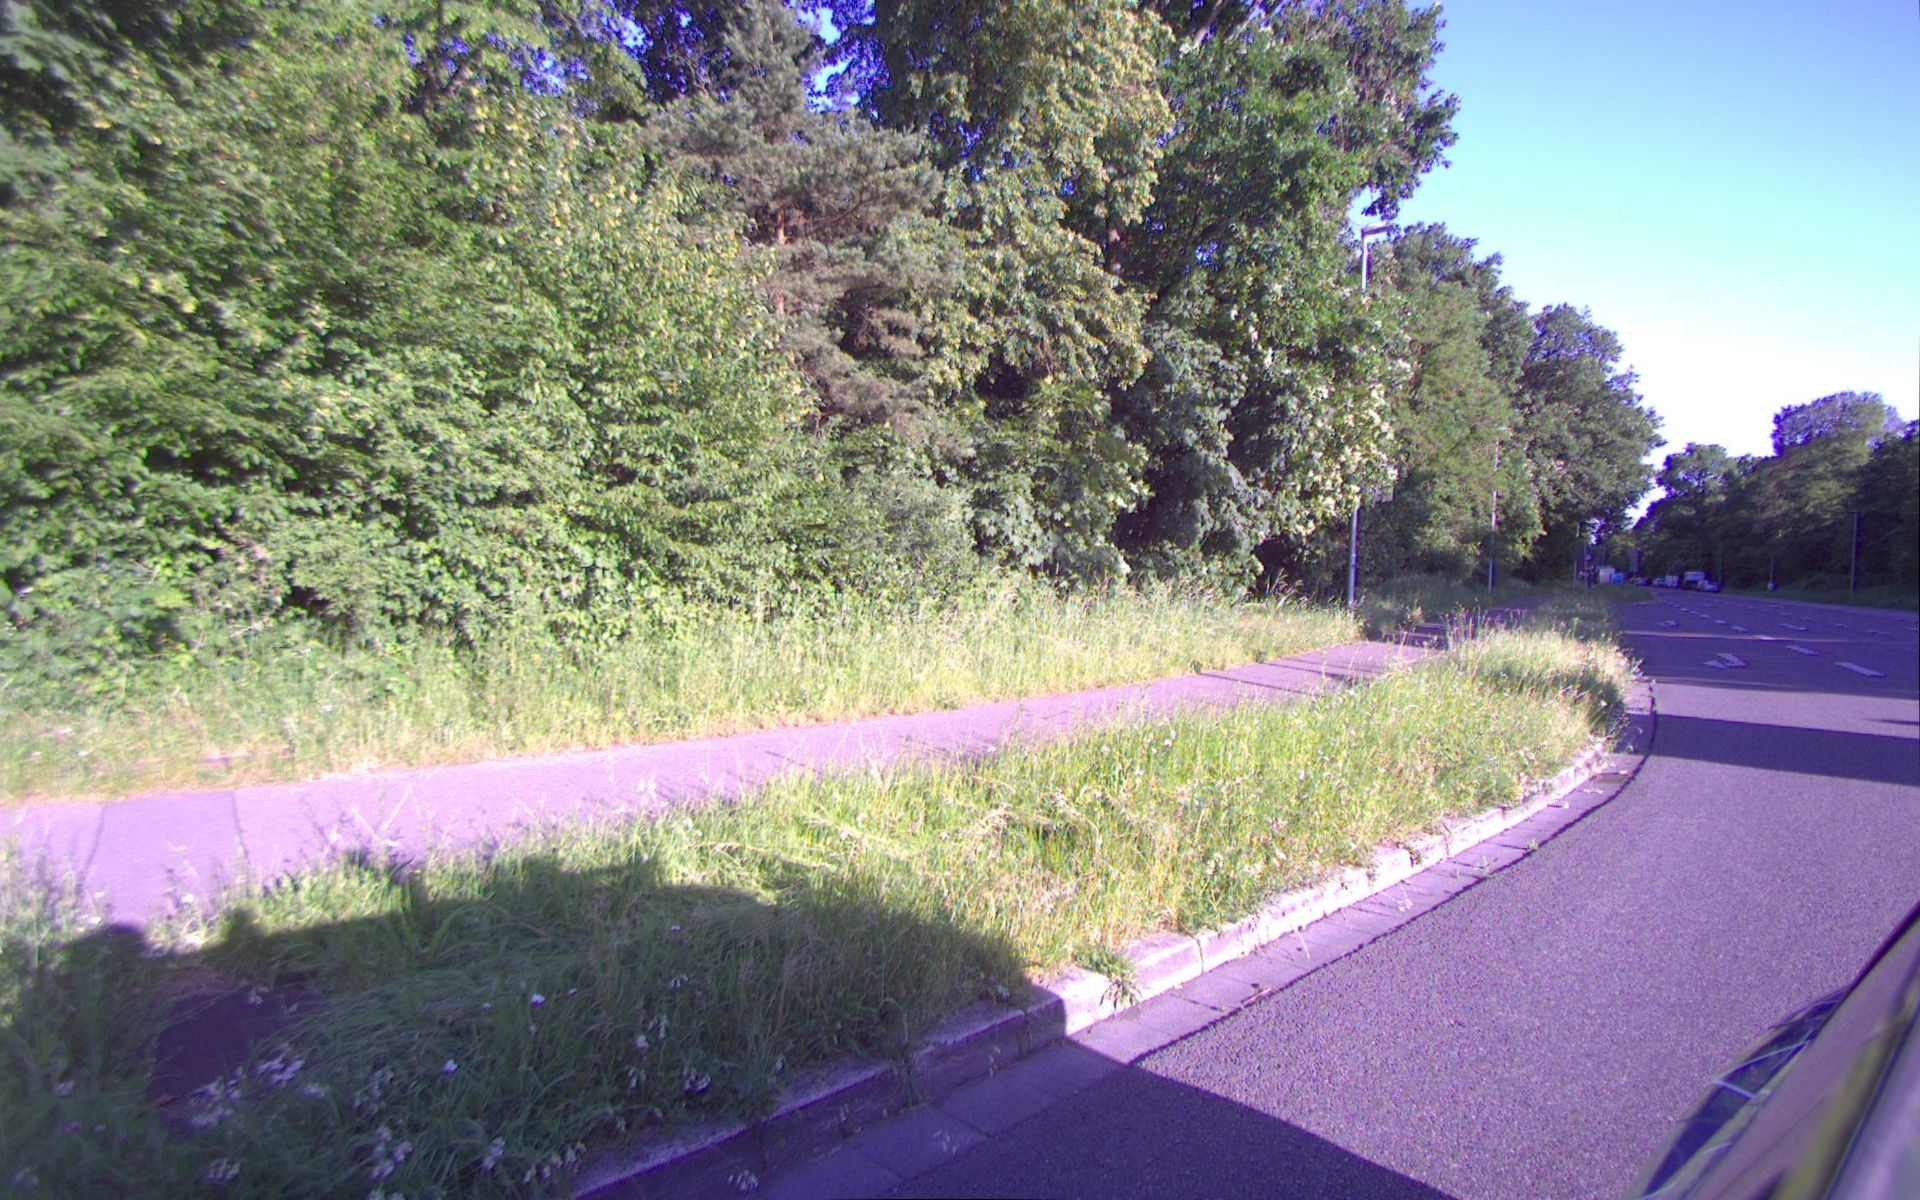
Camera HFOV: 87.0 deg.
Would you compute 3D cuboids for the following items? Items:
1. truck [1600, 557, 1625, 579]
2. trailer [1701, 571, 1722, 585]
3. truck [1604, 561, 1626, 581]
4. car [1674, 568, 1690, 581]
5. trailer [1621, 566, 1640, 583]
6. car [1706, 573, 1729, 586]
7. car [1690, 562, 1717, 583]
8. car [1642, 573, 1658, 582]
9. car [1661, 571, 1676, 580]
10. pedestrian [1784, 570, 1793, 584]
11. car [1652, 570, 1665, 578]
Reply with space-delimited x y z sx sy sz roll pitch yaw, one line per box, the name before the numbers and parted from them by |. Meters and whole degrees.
truck | 102.324 -5.041 158.743 2.685 3.276 7.057 4 4 29
trailer | 102.566 -3.022 138.189 1.792 1.750 3.611 4 4 29
truck | 97.514 -4.288 150.712 2.370 2.907 5.542 0 2 29
car | 125.177 -4.449 175.501 1.678 2.126 4.586 4 4 29
trailer | 89.499 -3.474 135.138 1.854 2.204 4.088 1 2 29
car | 100.164 -2.755 133.845 1.900 1.481 3.972 4 4 29
car | 109.082 -3.998 148.468 2.441 2.881 4.751 4 4 29
car | 124.835 -4.072 183.080 1.818 1.473 4.437 3 3 28
car | 130.668 -4.603 186.691 1.792 1.523 3.873 4 4 29
pedestrian | 98.459 -2.757 120.264 0.709 1.584 0.816 4 3 33
car | 138.300 -5.145 200.407 1.792 1.523 3.873 4 4 29
